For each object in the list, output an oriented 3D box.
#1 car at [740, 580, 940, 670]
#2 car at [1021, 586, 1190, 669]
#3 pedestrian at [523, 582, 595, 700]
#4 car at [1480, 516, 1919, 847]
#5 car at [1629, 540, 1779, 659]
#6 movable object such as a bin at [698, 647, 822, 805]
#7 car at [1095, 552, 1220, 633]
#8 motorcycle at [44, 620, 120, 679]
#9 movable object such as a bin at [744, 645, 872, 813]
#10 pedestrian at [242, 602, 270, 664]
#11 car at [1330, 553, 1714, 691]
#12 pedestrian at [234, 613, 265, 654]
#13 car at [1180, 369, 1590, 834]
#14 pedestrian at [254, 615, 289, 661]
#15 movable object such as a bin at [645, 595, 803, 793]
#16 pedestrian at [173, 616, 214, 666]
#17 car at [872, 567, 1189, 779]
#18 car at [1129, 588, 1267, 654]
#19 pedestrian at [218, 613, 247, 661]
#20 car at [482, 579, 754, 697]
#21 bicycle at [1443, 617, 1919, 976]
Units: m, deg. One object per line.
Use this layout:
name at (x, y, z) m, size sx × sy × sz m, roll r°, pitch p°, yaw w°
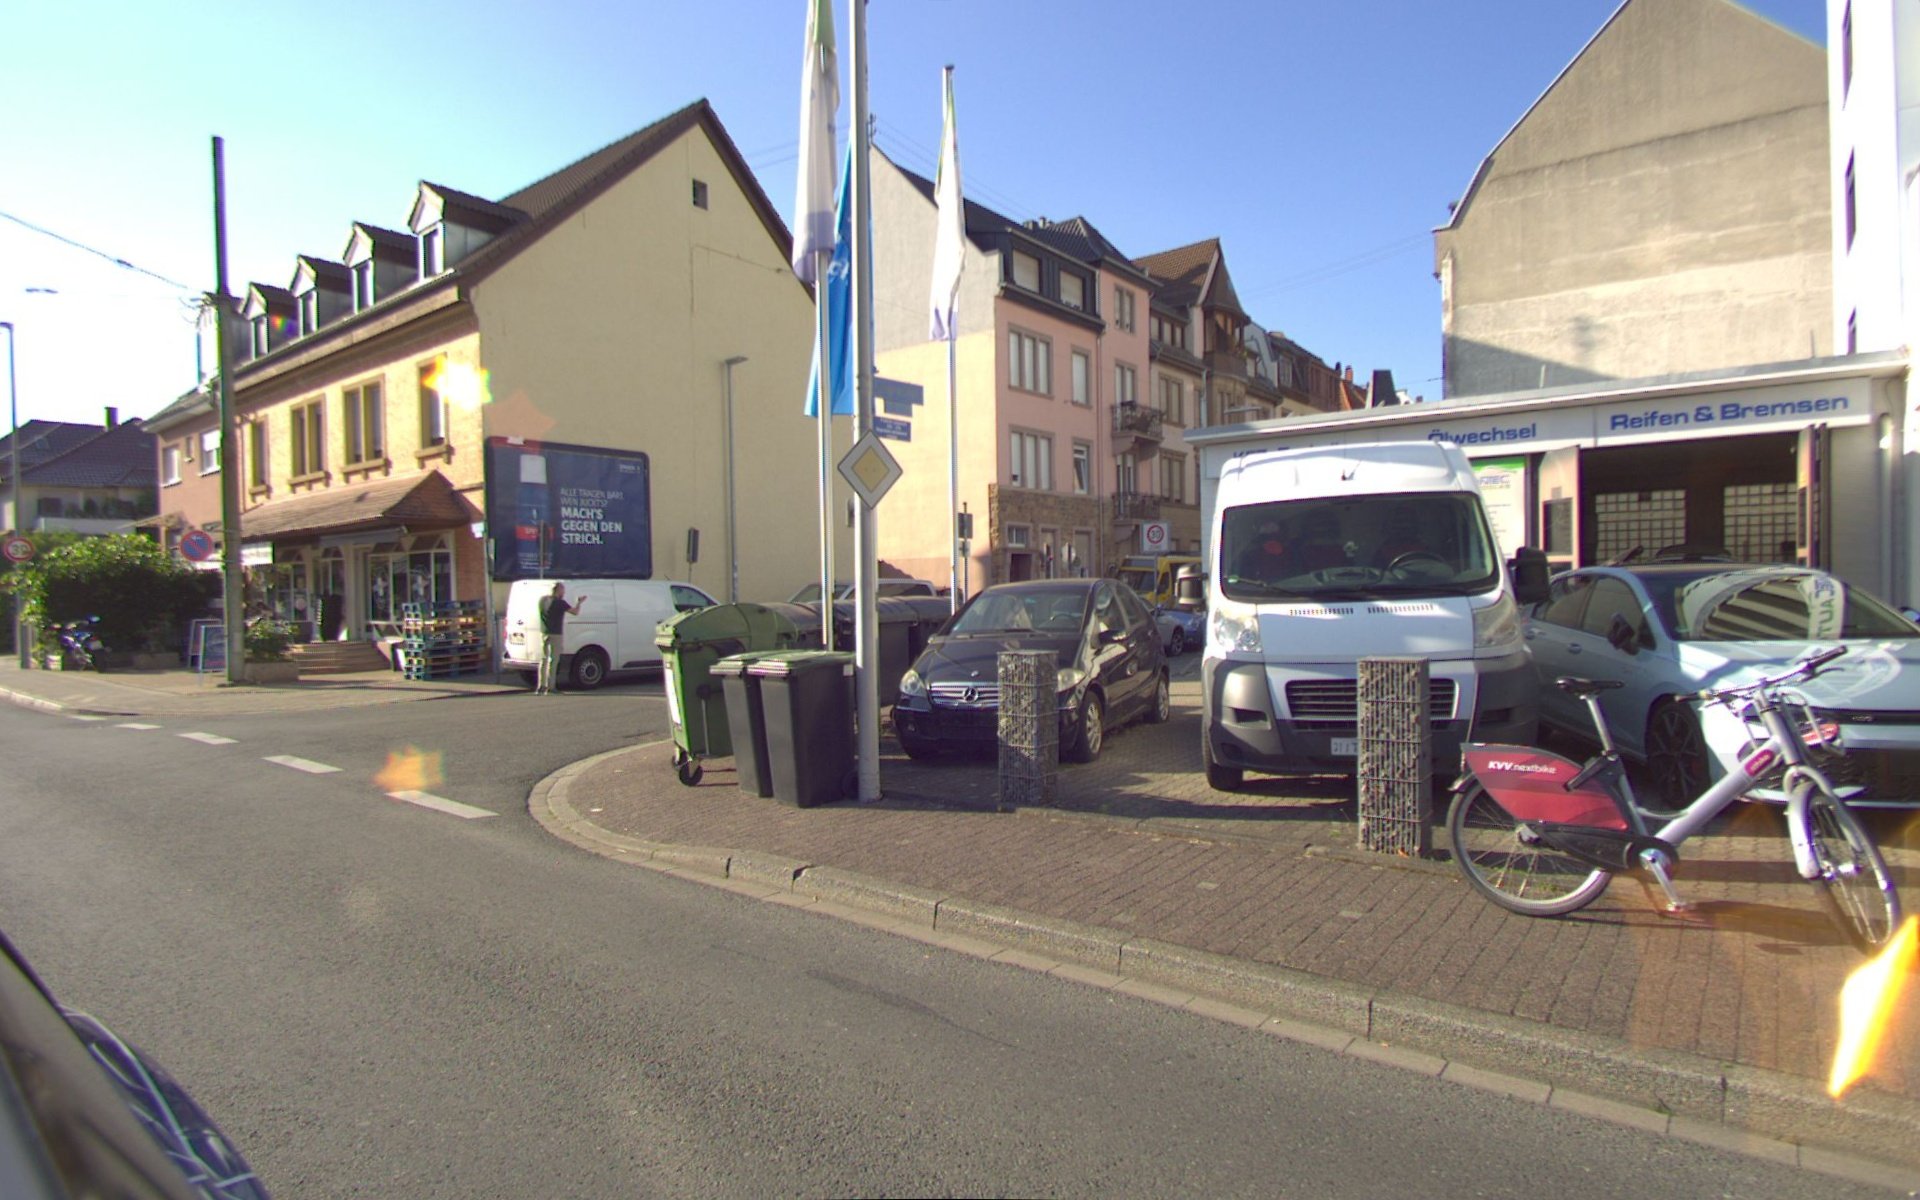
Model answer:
car at (-2.718, 0.513, 24.118) m, size 1.995 × 1.909 × 4.918 m, roll -1°, pitch 0°, yaw 34°
car at (3.327, 0.520, 22.641) m, size 1.998 × 1.536 × 3.948 m, roll 4°, pitch 4°, yaw 38°
pedestrian at (-6.645, 0.656, 16.782) m, size 0.820 × 1.882 × 0.784 m, roll -2°, pitch 0°, yaw 41°
car at (5.128, 0.331, 6.734) m, size 1.753 × 1.580 × 3.989 m, roll -2°, pitch 1°, yaw 9°
car at (12.349, -0.066, 16.963) m, size 1.768 × 1.722 × 4.265 m, roll -2°, pitch 1°, yaw 35°
movable object such as a bin at (-1.510, 0.917, 7.644) m, size 0.652 × 1.070 × 0.586 m, roll -5°, pitch 1°, yaw -39°
car at (7.408, -0.287, 37.371) m, size 2.134 × 2.747 × 6.052 m, roll -1°, pitch 0°, yaw 36°
motorcycle at (-20.705, 1.137, 23.859) m, size 2.228 × 1.292 × 0.832 m, roll -1°, pitch 2°, yaw 36°
movable object such as a bin at (-1.081, 0.887, 7.185) m, size 0.631 × 1.077 × 0.581 m, roll -2°, pitch -2°, yaw -39°
pedestrian at (-18.361, 0.851, 26.391) m, size 0.501 × 1.572 × 0.460 m, roll 0°, pitch 0°, yaw 34°
car at (7.492, 0.273, 13.700) m, size 4.309 × 1.580 × 1.751 m, roll -2°, pitch 1°, yaw 38°
pedestrian at (-18.726, 0.883, 26.684) m, size 0.381 × 1.055 × 0.521 m, roll -1°, pitch 0°, yaw 22°
car at (3.063, -0.025, 8.143) m, size 2.090 × 2.488 × 5.044 m, roll -1°, pitch 1°, yaw 17°
pedestrian at (-17.397, 0.951, 25.559) m, size 0.632 × 1.118 × 0.557 m, roll -1°, pitch 0°, yaw 39°
movable object such as a bin at (-2.062, 0.764, 8.705) m, size 1.040 × 1.494 × 1.316 m, roll -3°, pitch -2°, yaw -23°
pedestrian at (-20.106, 1.061, 26.541) m, size 0.666 × 1.253 × 0.737 m, roll -1°, pitch 0°, yaw 42°
car at (0.913, 0.517, 9.796) m, size 1.762 × 1.580 × 3.968 m, roll -2°, pitch 1°, yaw 24°
car at (6.315, 0.484, 26.585) m, size 1.998 × 1.419 × 3.948 m, roll 4°, pitch 4°, yaw 38°
pedestrian at (-19.689, 0.998, 27.392) m, size 0.465 × 1.268 × 0.518 m, roll -1°, pitch 0°, yaw 40°
car at (-6.339, 0.607, 19.247) m, size 1.996 × 1.947 × 4.573 m, roll -1°, pitch 0°, yaw 36°
bicycle at (2.925, 0.680, 4.005) m, size 1.774 × 1.186 × 0.718 m, roll -1°, pitch 0°, yaw 30°
